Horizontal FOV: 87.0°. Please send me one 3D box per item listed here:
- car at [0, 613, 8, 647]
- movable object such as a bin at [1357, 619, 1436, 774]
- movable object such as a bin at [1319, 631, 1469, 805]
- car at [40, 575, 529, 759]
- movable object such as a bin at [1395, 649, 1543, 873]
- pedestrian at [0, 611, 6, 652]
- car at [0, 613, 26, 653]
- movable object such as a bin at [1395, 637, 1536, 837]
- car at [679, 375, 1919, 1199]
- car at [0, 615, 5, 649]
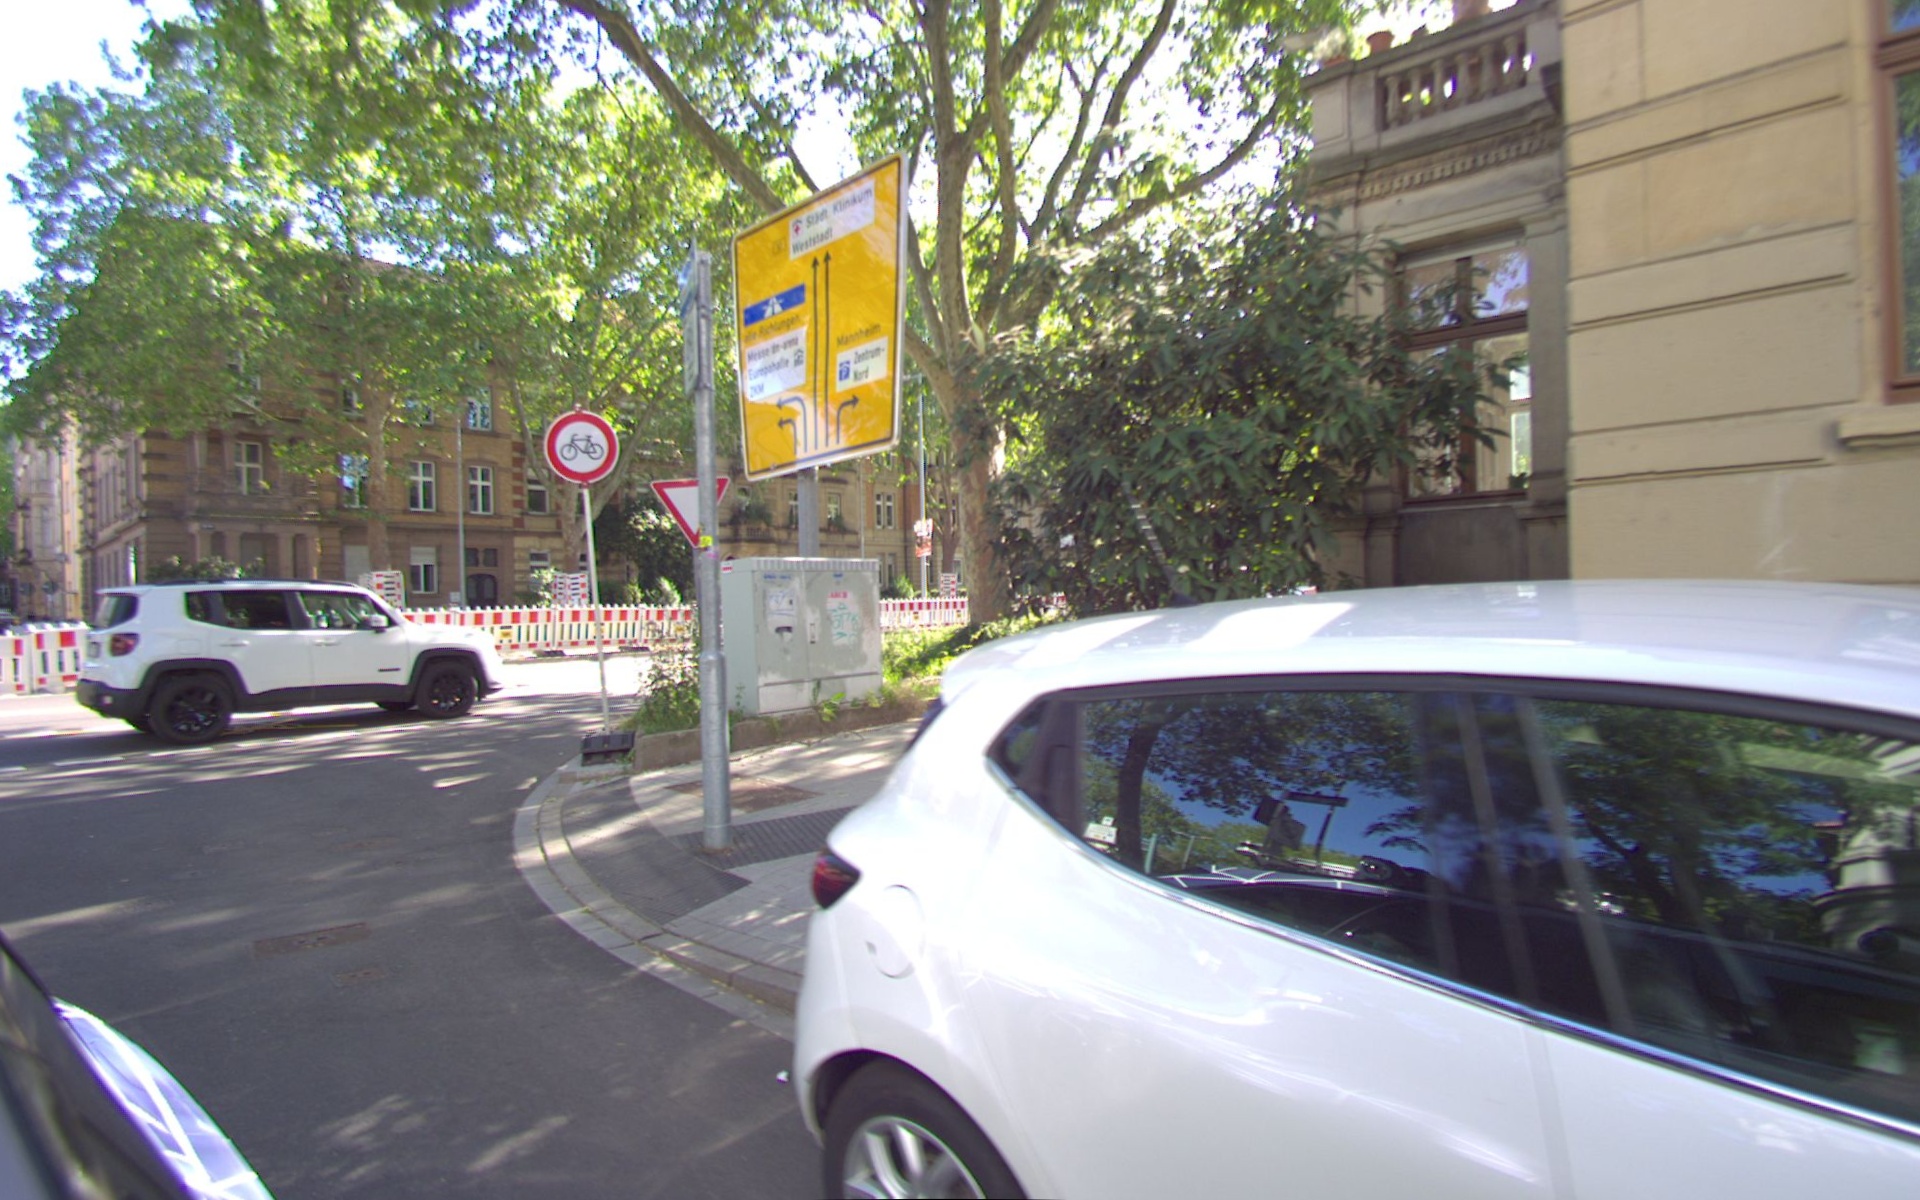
[{"bbox_3d":[-48.315,1.502,48.655,1.600,1.662,3.627,-2,0,43],"label":"car"},{"bbox_3d":[2.897,0.622,6.717,0.345,0.978,0.377,-2,-1,43],"label":"movable object such as a bin"},{"bbox_3d":[2.675,0.690,6.245,0.689,0.978,0.540,-2,-1,43],"label":"movable object such as a bin"},{"bbox_3d":[-7.664,0.602,11.880,1.868,1.739,4.446,0,1,40],"label":"car"},{"bbox_3d":[2.435,0.735,4.849,0.521,0.978,0.392,-2,-1,43],"label":"movable object such as a bin"},{"bbox_3d":[-39.921,1.309,41.541,0.820,1.673,0.756,-2,-1,17],"label":"pedestrian"},{"bbox_3d":[-43.883,1.500,44.711,1.623,1.749,3.749,-2,-1,43],"label":"car"},{"bbox_3d":[2.712,0.696,5.431,0.521,0.978,0.540,-2,-1,43],"label":"movable object such as a bin"},{"bbox_3d":[1.502,0.552,1.490,3.942,1.573,1.847,-1,2,43],"label":"car"},{"bbox_3d":[-51.876,1.708,52.153,1.623,1.749,3.749,-2,-1,43],"label":"car"}]
